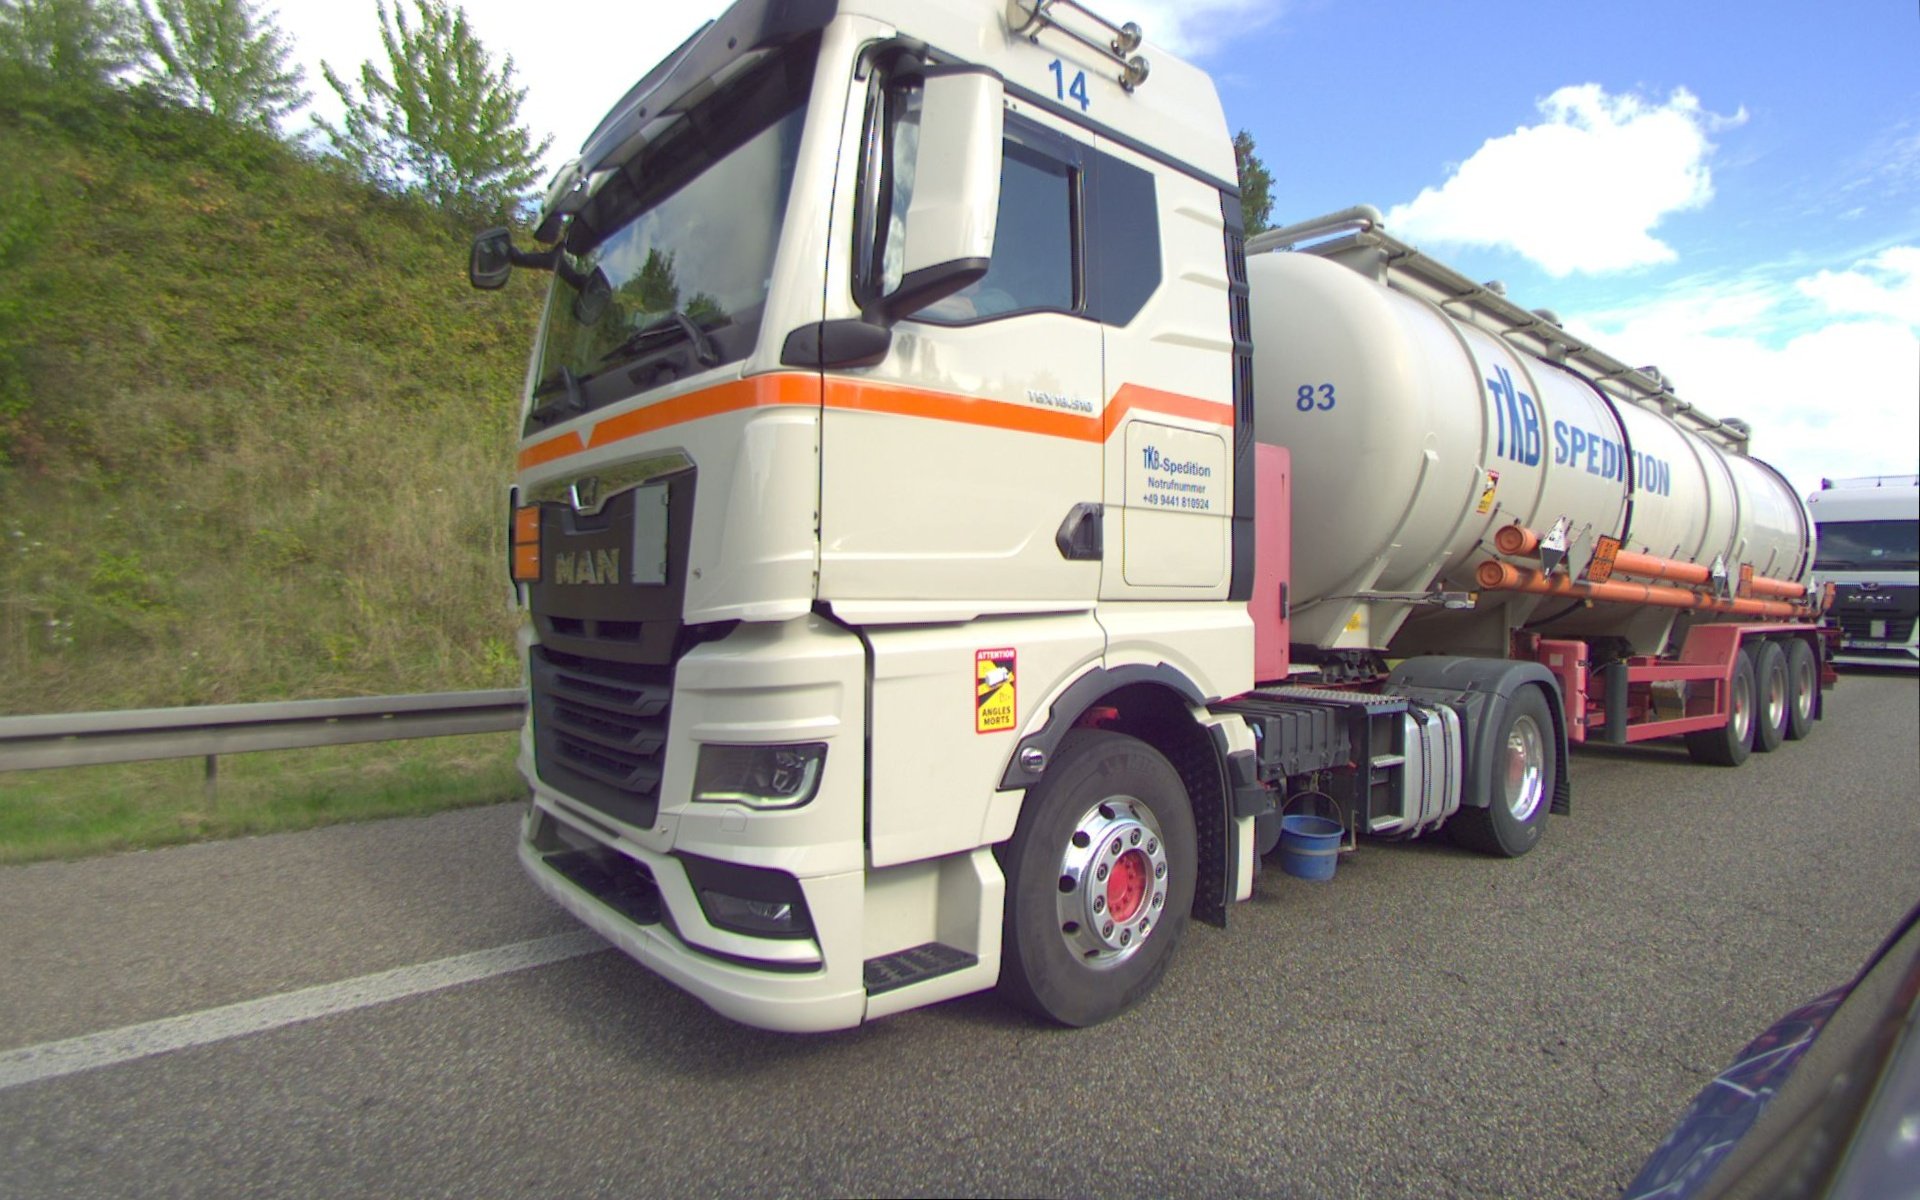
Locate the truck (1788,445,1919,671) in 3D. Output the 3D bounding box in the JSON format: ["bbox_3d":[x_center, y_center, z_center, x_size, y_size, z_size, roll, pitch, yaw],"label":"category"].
[{"bbox_3d":[19.403,-0.796,20.662,5.605,4.122,2.840,0,1,-39],"label":"truck"}]

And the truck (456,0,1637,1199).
[{"bbox_3d":[0.881,-0.723,5.234,5.798,4.094,2.809,0,1,-39],"label":"truck"}]

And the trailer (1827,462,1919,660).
[{"bbox_3d":[24.928,-0.856,25.222,13.132,4.122,2.832,0,1,-40],"label":"trailer"}]

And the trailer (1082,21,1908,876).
[{"bbox_3d":[5.960,-0.779,9.421,10.982,4.077,2.804,0,1,-40],"label":"trailer"}]
